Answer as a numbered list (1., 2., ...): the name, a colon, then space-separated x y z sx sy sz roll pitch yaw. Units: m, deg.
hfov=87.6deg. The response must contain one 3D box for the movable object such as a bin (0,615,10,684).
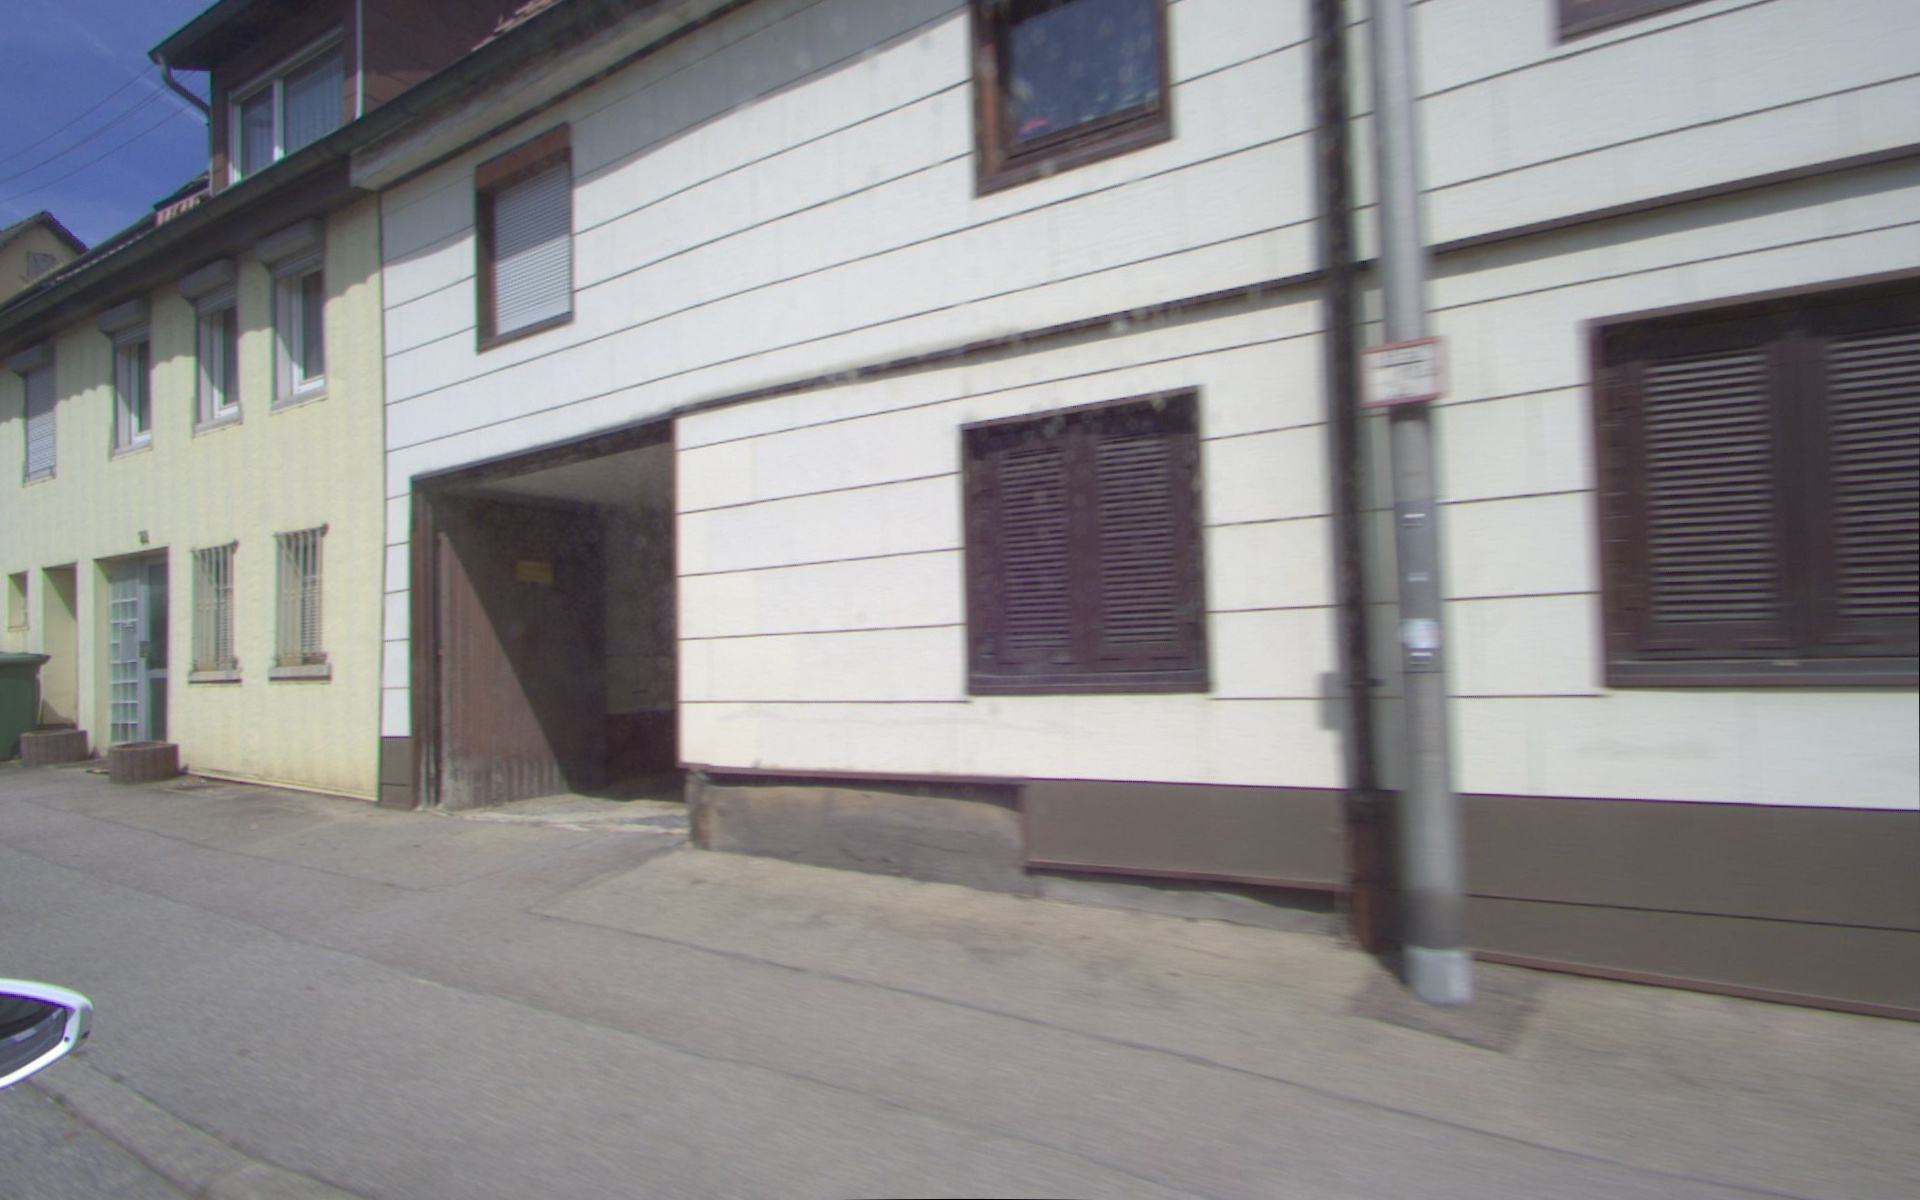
1. movable object such as a bin: -16.818 0.875 17.148 0.502 1.174 0.534 -1 5 26

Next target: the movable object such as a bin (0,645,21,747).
1. movable object such as a bin: -10.326 1.014 10.489 0.543 1.047 0.545 0 2 30

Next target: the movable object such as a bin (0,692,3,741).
1. movable object such as a bin: -10.809 1.020 10.792 0.543 1.047 0.545 0 2 30

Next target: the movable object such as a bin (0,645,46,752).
1. movable object such as a bin: -9.814 1.004 10.216 0.543 1.047 0.545 0 2 30
